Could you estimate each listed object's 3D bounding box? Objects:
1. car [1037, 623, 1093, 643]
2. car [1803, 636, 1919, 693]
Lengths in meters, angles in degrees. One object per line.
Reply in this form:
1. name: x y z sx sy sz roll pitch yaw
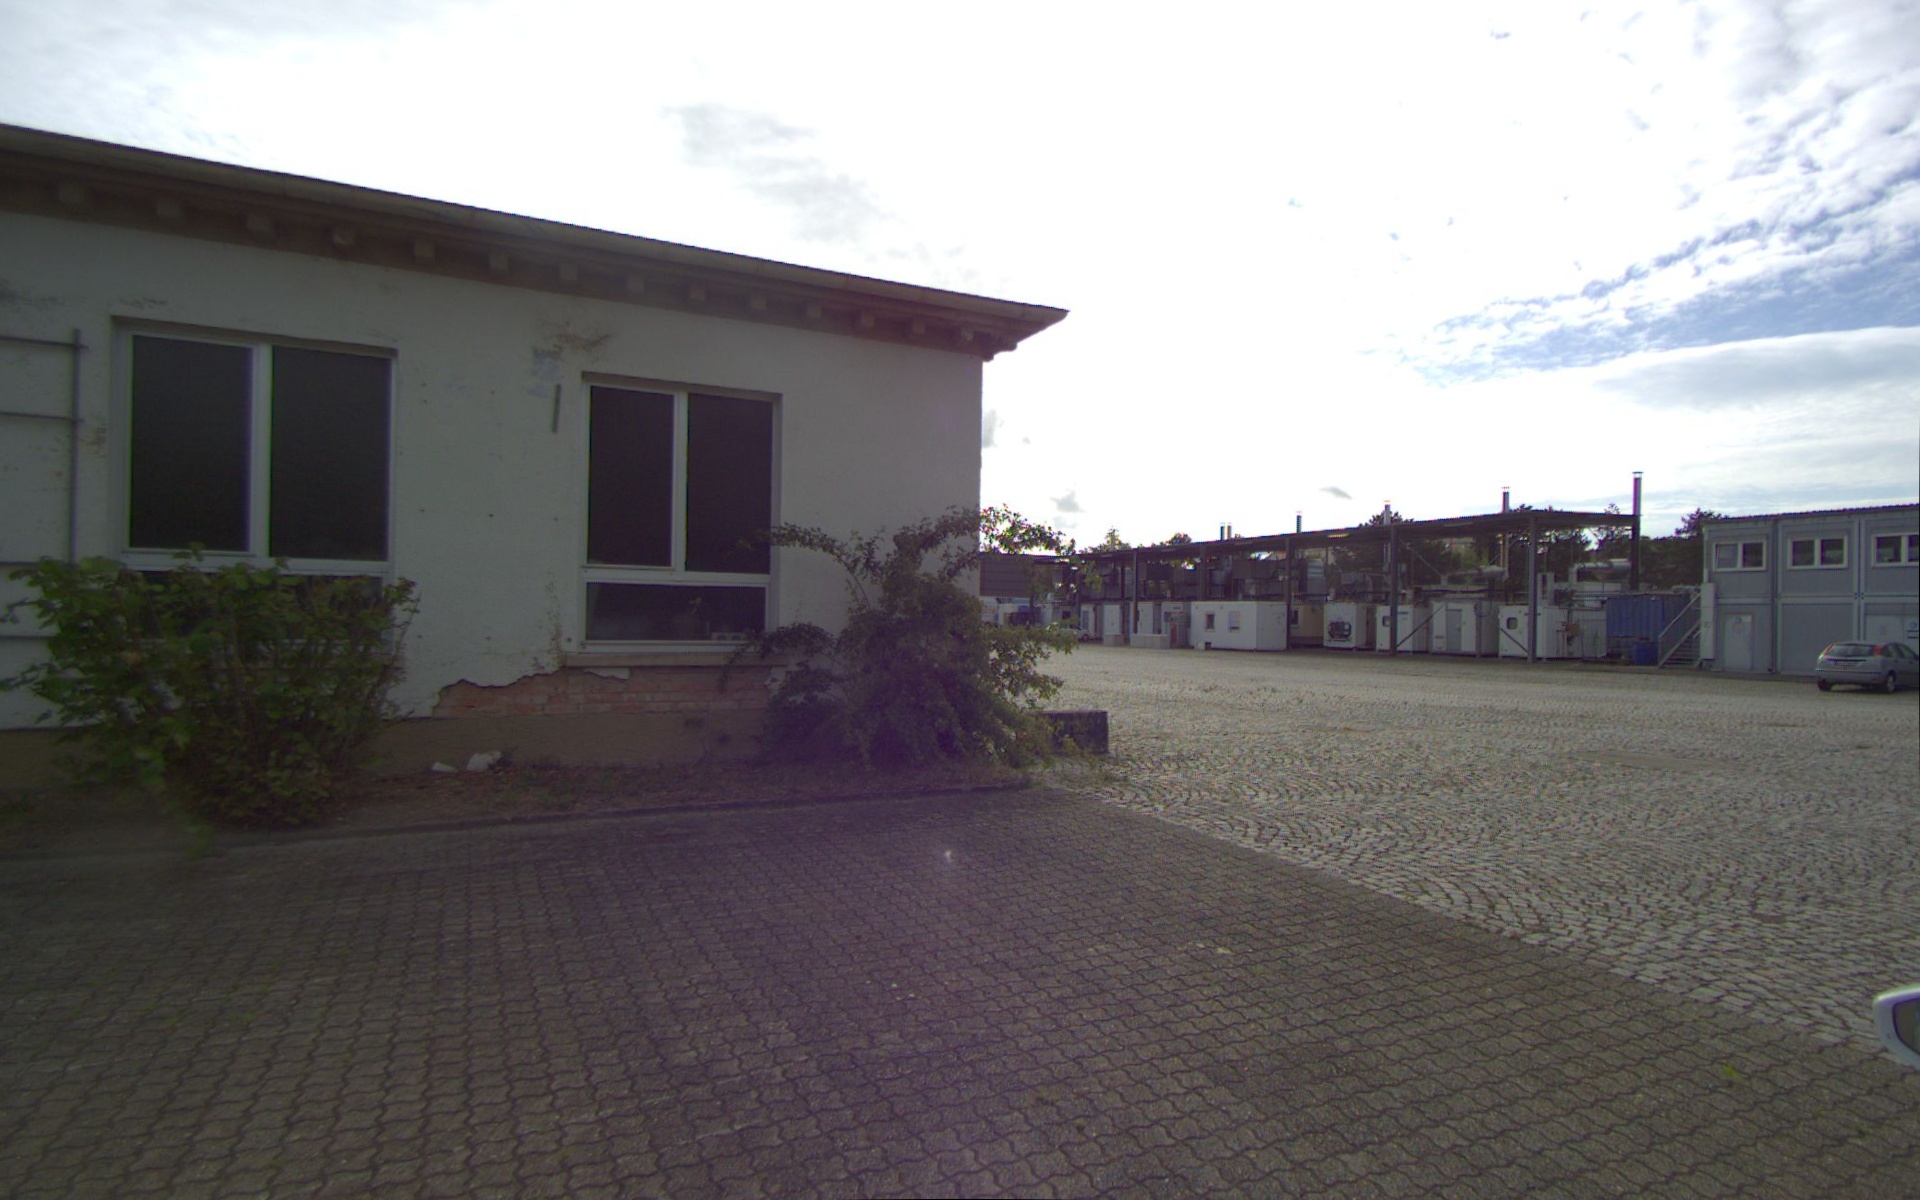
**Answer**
1. car: 8.226 2.568 78.586 3.949 1.512 1.986 2 -1 -28
2. car: 27.333 1.876 30.058 3.996 1.495 1.899 0 -1 -28
